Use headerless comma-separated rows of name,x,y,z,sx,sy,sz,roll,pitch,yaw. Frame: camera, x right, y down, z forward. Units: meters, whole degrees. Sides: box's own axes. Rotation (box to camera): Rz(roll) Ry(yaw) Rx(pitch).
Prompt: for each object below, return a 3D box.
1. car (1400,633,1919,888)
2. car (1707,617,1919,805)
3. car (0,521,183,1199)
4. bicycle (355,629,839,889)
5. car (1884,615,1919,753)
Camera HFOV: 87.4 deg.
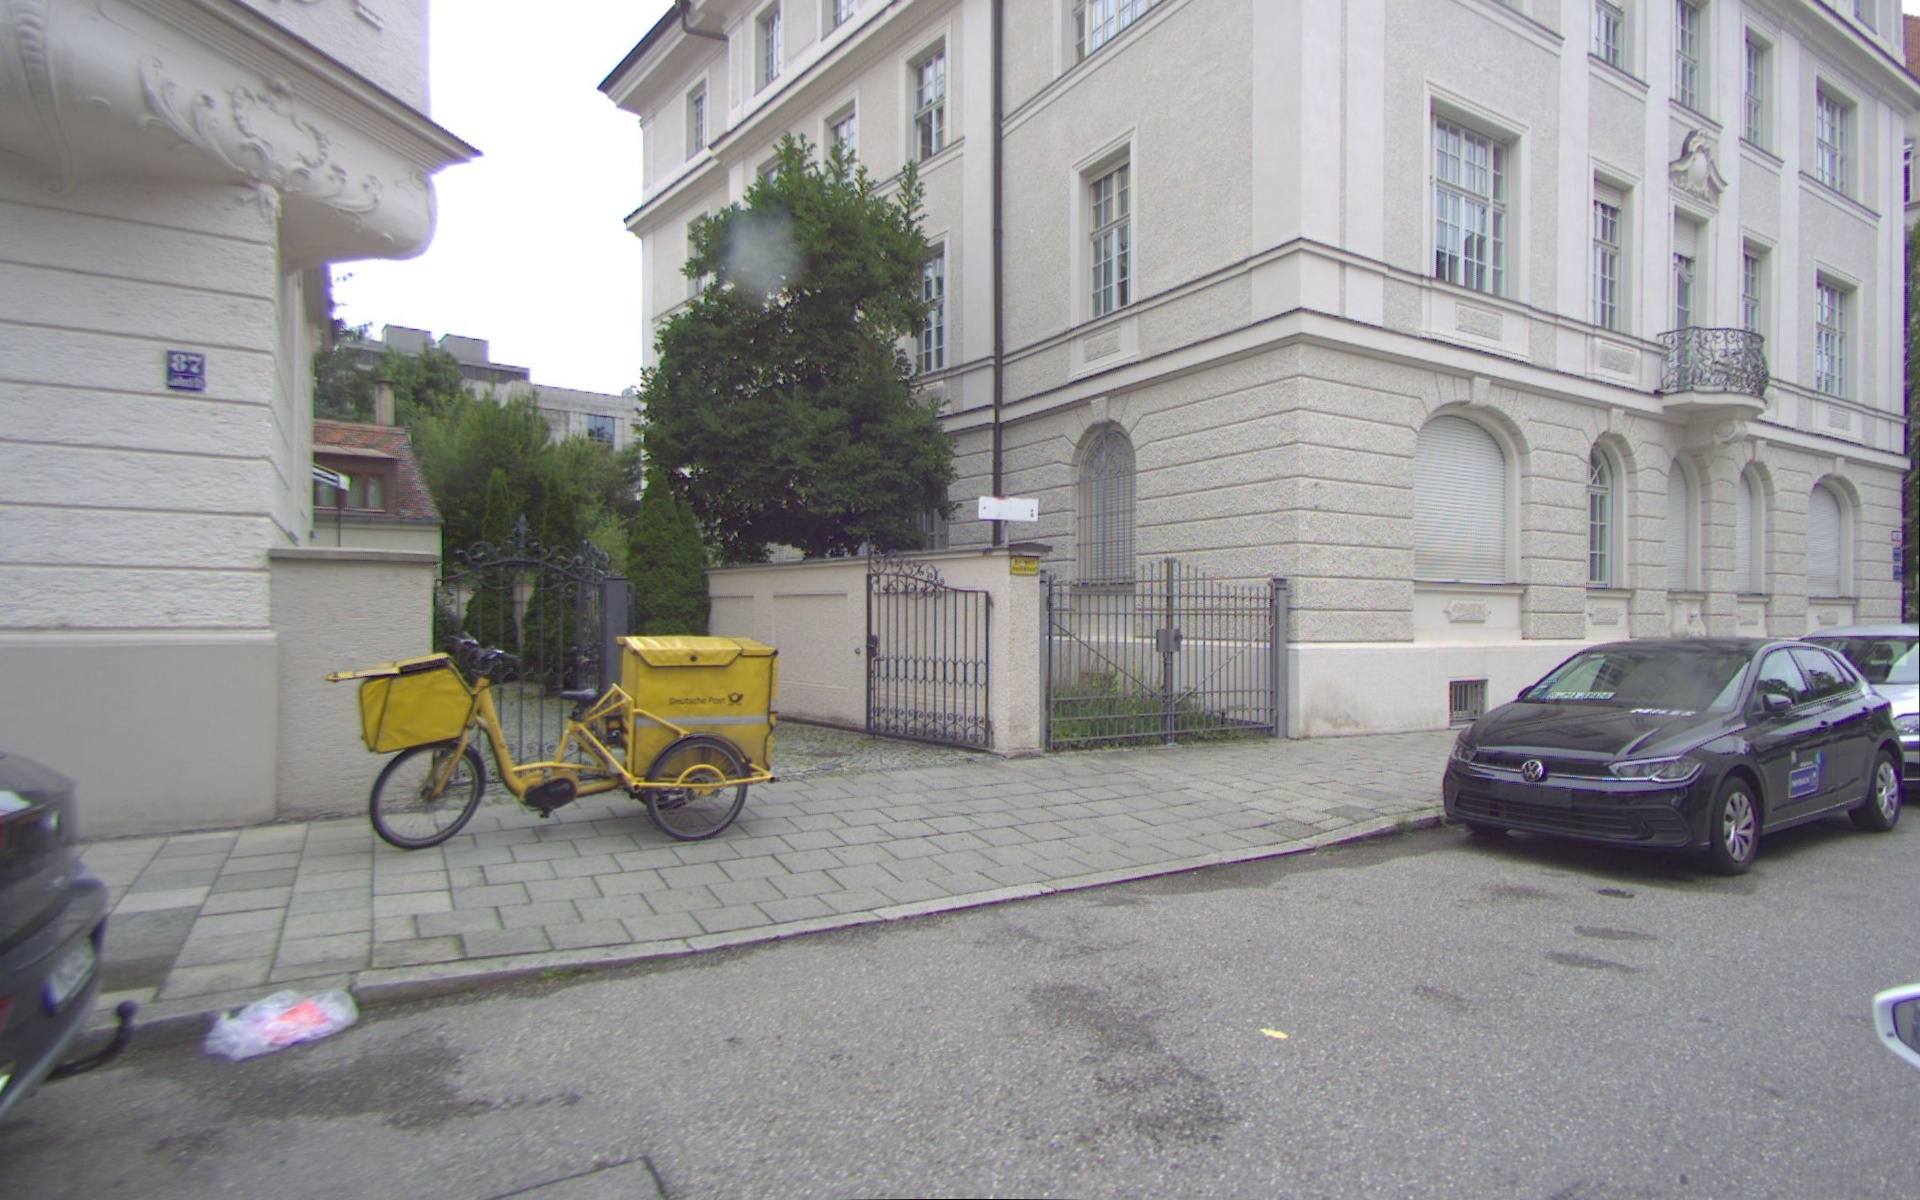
car,5.439,0.985,7.560,4.230,1.433,1.784,1,-3,-31
car,9.367,0.985,10.037,4.214,1.561,1.772,1,-3,-35
car,-3.934,0.673,1.605,4.077,1.640,1.717,1,-3,-33
bicycle,-2.245,0.857,6.373,2.684,1.259,1.146,1,3,-30
car,13.645,1.007,12.545,4.518,1.640,1.906,0,-1,-31
